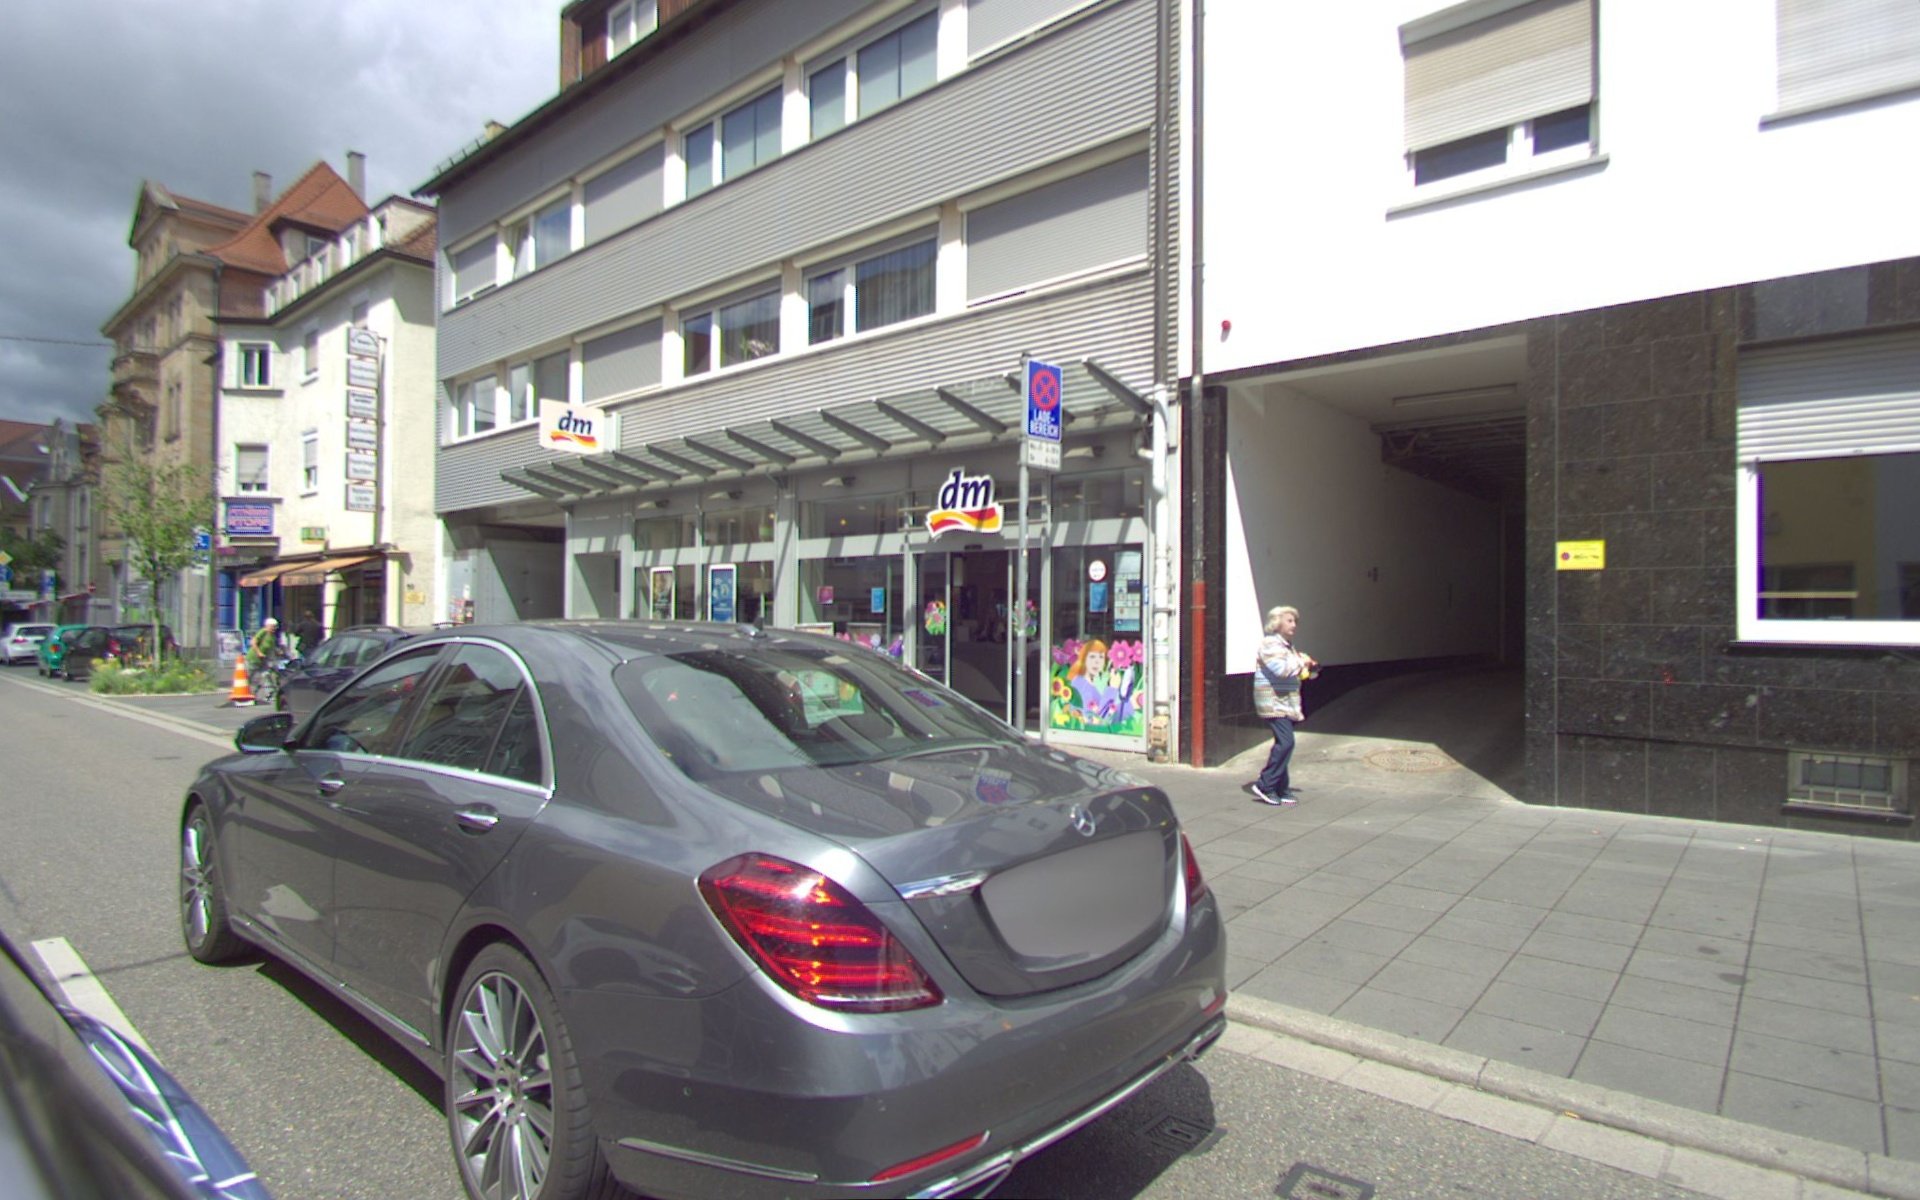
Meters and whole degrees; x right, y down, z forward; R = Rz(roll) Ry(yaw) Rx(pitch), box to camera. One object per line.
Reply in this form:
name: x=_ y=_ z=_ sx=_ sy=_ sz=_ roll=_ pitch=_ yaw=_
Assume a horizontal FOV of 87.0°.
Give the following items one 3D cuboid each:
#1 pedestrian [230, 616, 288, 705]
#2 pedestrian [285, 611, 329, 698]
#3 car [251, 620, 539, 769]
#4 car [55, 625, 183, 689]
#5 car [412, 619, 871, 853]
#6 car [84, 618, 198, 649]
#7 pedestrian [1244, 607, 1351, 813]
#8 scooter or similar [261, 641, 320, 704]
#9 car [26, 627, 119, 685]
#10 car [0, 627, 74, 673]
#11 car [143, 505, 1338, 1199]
pedestrian: x=-13.328 y=1.126 z=19.237 sx=0.650 sy=1.630 sz=0.724 roll=-1 pitch=0 yaw=36
pedestrian: x=-13.690 y=1.117 z=21.218 sx=0.728 sy=1.770 sz=0.543 roll=-1 pitch=0 yaw=38
car: x=-7.348 y=1.055 z=12.923 sx=4.711 sy=1.524 sz=1.771 roll=-1 pitch=0 yaw=42
car: x=-21.308 y=1.401 z=25.609 sx=3.548 sy=1.457 sz=1.584 roll=-1 pitch=0 yaw=34
car: x=-2.913 y=0.956 z=8.842 sx=4.172 sy=1.514 sz=1.773 roll=0 pitch=0 yaw=38
car: x=-43.791 y=1.773 z=54.218 sx=1.985 sy=1.391 sz=4.358 roll=-1 pitch=1 yaw=20
pedestrian: x=2.575 y=0.793 z=7.712 sx=0.563 sy=1.466 sz=0.647 roll=0 pitch=0 yaw=41
scooter or similar: x=-12.948 y=1.384 z=19.587 sx=0.629 sy=1.134 sz=0.774 roll=-1 pitch=0 yaw=36
car: x=-25.009 y=1.526 z=28.497 sx=3.668 sy=1.425 sz=1.569 roll=0 pitch=0 yaw=42
car: x=-33.055 y=1.728 z=35.853 sx=4.031 sy=1.408 sz=1.828 roll=0 pitch=0 yaw=38
car: x=-1.299 y=0.695 z=3.699 sx=4.644 sy=1.575 sz=1.885 roll=-2 pitch=-1 yaw=42
